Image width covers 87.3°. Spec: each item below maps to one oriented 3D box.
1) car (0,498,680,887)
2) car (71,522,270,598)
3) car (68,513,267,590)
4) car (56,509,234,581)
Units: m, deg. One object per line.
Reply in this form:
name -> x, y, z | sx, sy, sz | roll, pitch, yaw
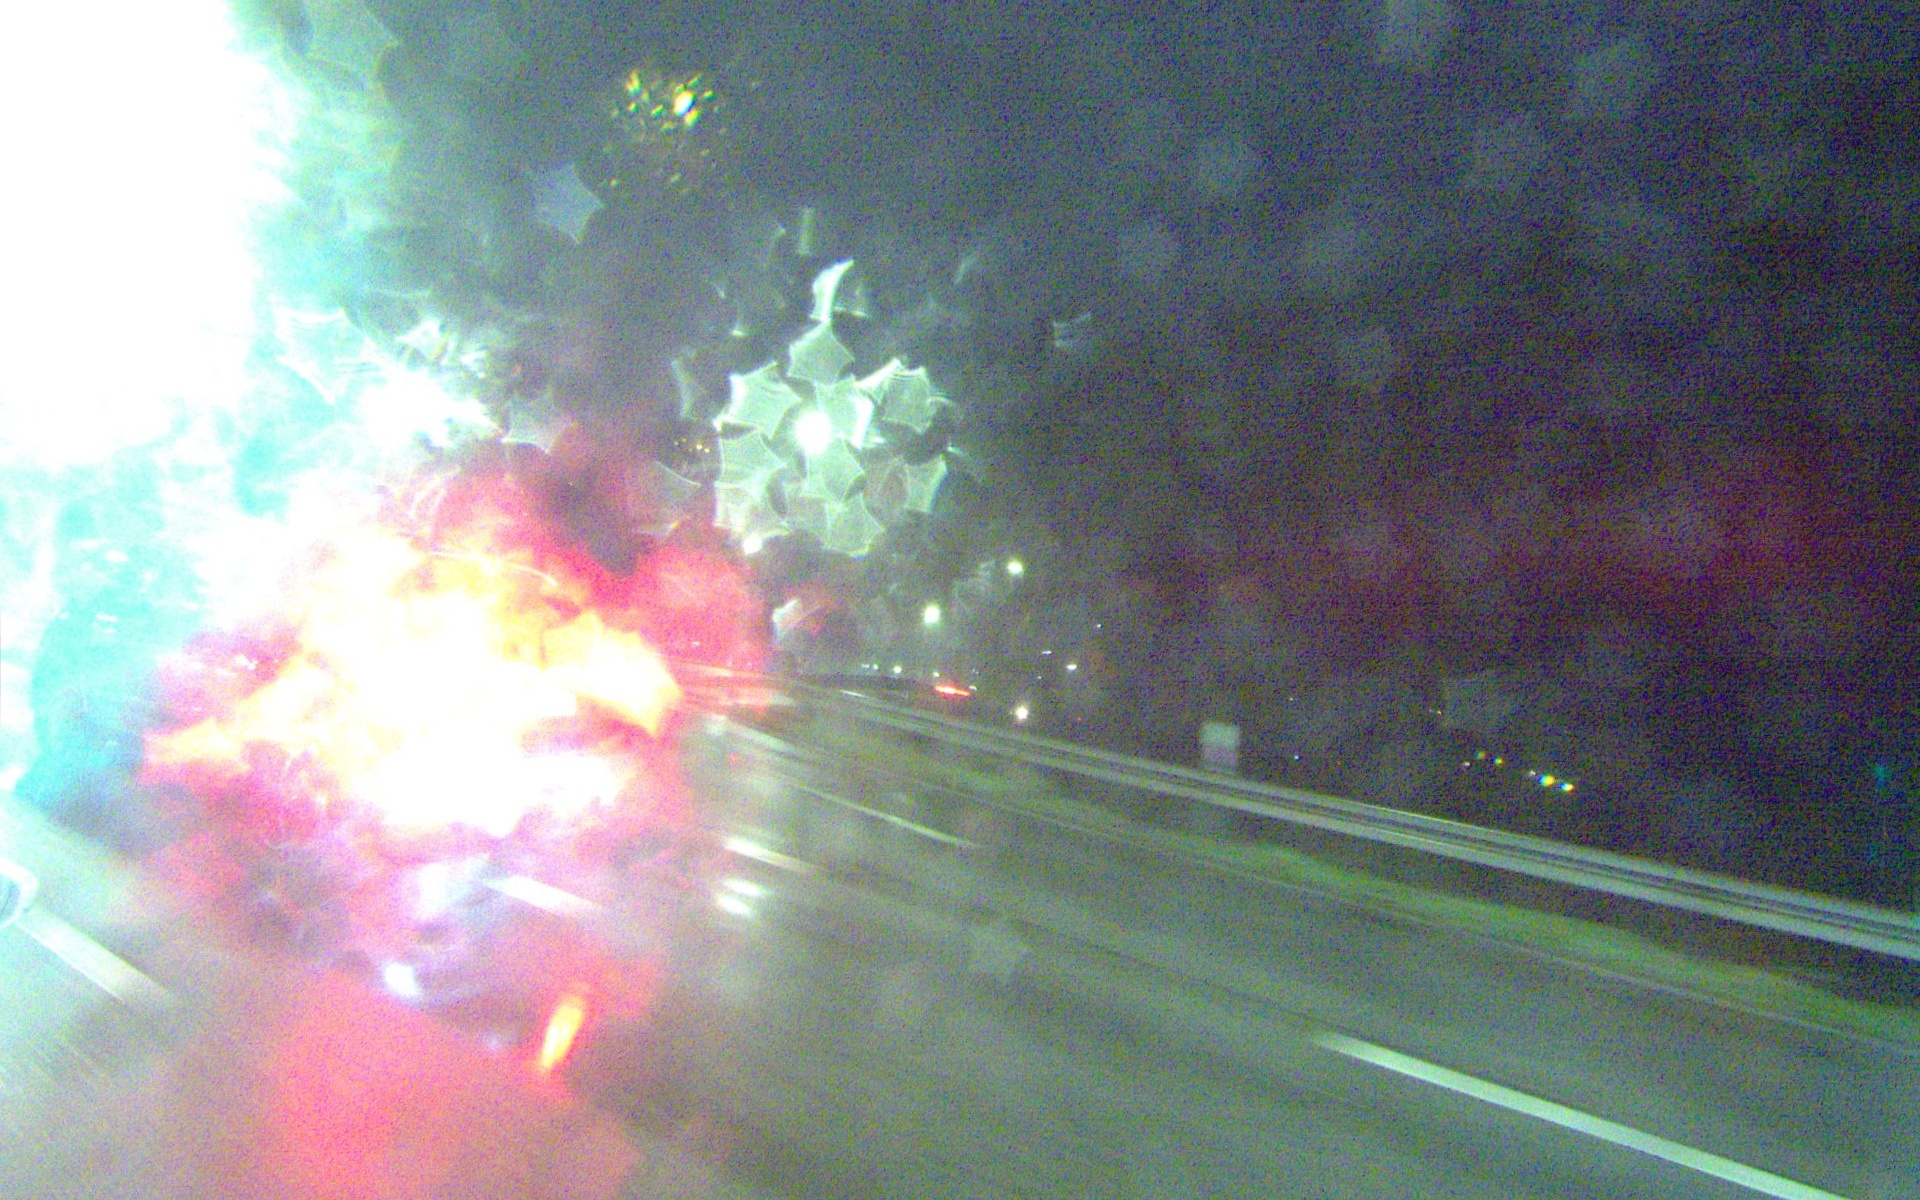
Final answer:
car -> -3.815, 0.407, 6.031 | 3.892, 1.538, 1.683 | 6, -4, 29
car -> -22.614, -1.090, 28.987 | 1.717, 1.360, 4.057 | 8, -3, 29
car -> -25.224, -1.488, 32.214 | 1.825, 1.535, 4.499 | 8, -3, 29
car -> -27.576, -1.810, 34.198 | 1.825, 1.535, 4.179 | 8, -3, 29
